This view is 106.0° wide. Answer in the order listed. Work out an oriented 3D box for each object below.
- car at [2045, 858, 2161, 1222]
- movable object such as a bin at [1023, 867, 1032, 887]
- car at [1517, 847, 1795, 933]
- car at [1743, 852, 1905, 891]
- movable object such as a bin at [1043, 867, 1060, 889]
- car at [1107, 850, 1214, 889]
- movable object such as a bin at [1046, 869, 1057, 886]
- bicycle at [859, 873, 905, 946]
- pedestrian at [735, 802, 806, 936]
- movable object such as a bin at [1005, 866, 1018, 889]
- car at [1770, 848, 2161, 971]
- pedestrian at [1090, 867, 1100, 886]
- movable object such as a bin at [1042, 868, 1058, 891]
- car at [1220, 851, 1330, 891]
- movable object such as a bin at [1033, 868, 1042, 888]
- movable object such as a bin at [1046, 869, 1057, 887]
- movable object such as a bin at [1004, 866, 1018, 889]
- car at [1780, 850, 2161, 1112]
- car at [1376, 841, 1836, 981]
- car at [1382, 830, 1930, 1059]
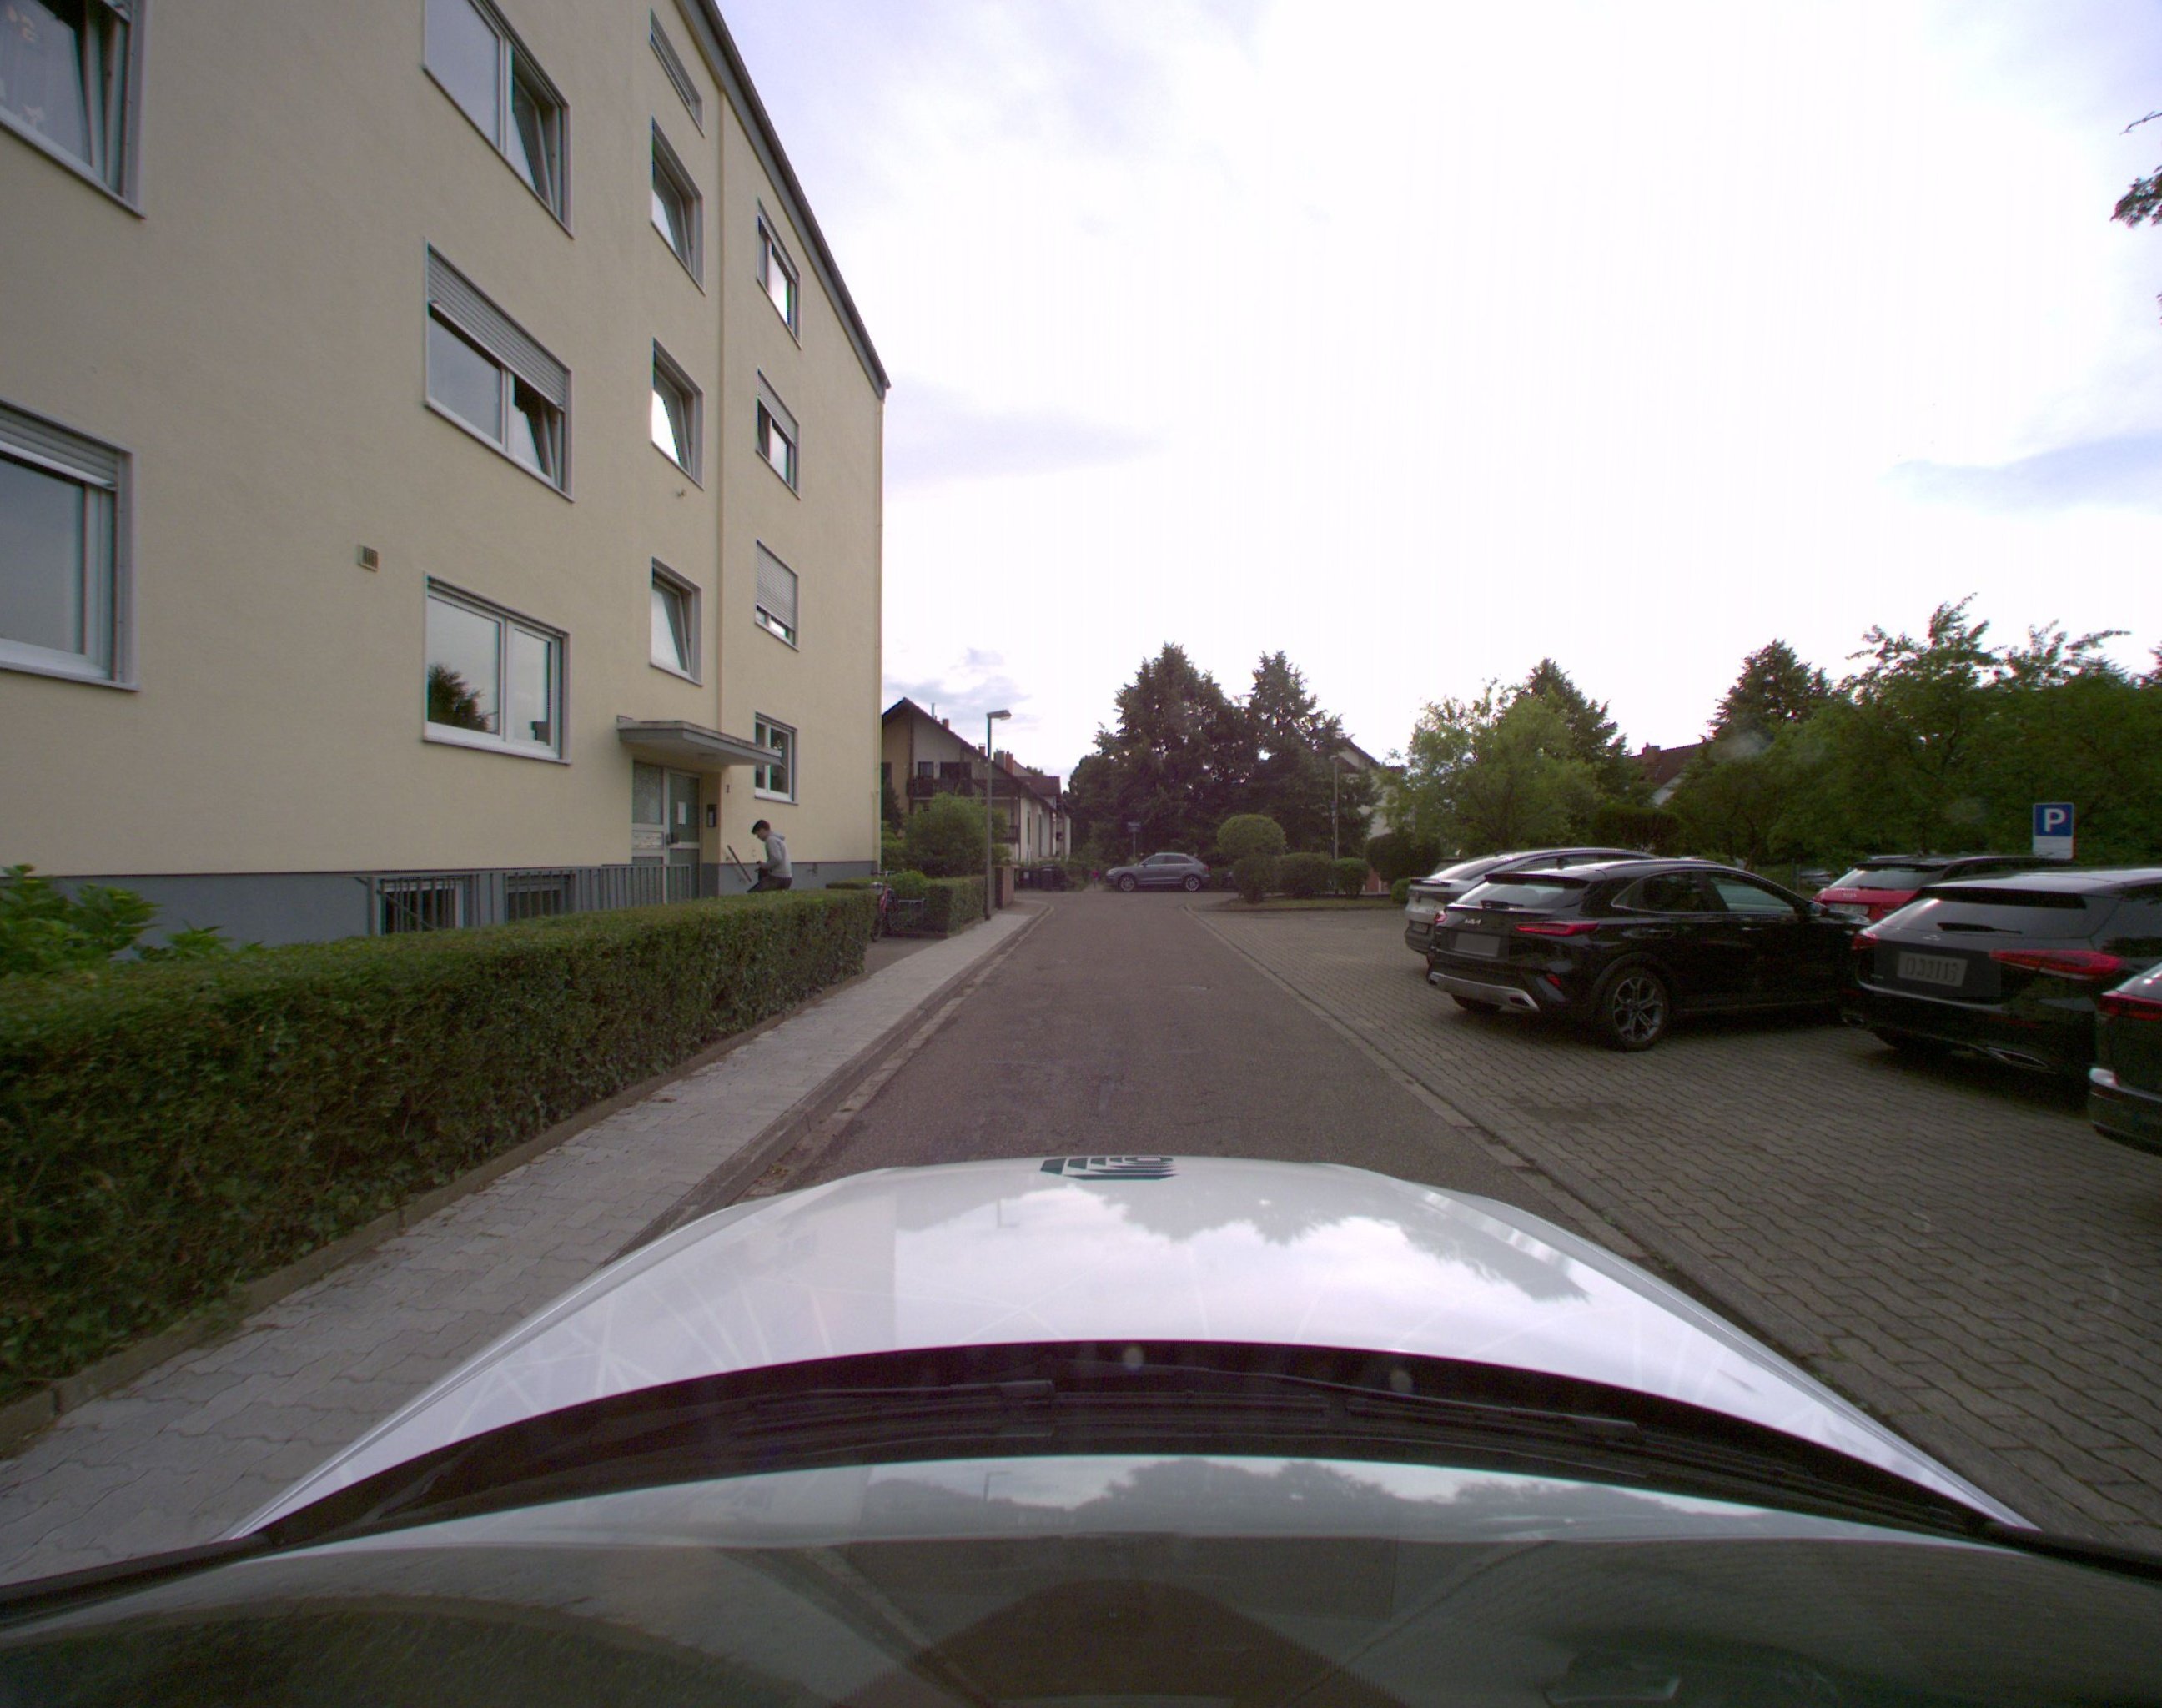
[{"bbox_3d":[6.361,0.724,2.817,4.113,1.449,1.613,-1,0,1],"label":"car"},{"bbox_3d":[-2.447,1.052,37.000,0.384,0.901,0.379,1,0,-1],"label":"movable object such as a bin"},{"bbox_3d":[10.787,0.641,15.522,3.883,1.510,2.028,0,0,1],"label":"car"},{"bbox_3d":[28.727,0.700,31.608,4.440,1.428,1.785,0,-2,6],"label":"car"},{"bbox_3d":[-1.302,1.055,36.275,0.731,0.953,0.584,1,0,1],"label":"movable object such as a bin"},{"bbox_3d":[3.176,0.653,33.177,4.222,1.531,1.747,0,-2,1],"label":"car"},{"bbox_3d":[-1.344,1.080,37.366,0.458,0.797,0.379,1,0,-1],"label":"movable object such as a bin"},{"bbox_3d":[-3.185,0.862,13.111,0.317,1.075,1.419,1,-1,2],"label":"bicycle"},{"bbox_3d":[-4.214,0.201,11.095,0.677,1.749,0.755,1,0,-5],"label":"pedestrian"},{"bbox_3d":[-3.062,1.041,36.043,0.535,0.994,0.337,1,0,-1],"label":"movable object such as a bin"},{"bbox_3d":[11.455,0.629,10.256,3.883,1.380,1.972,0,0,1],"label":"car"},{"bbox_3d":[1.156,1.860,66.959,0.812,1.517,0.438,0,-1,-1],"label":"pedestrian"},{"bbox_3d":[-1.350,1.103,35.393,0.636,0.953,0.723,1,0,1],"label":"movable object such as a bin"},{"bbox_3d":[7.748,0.701,32.861,4.160,1.531,1.750,0,-2,6],"label":"car"},{"bbox_3d":[-1.982,1.101,37.012,0.384,0.890,0.379,1,0,-1],"label":"movable object such as a bin"},{"bbox_3d":[-1.340,1.076,36.850,0.458,0.797,0.379,1,0,-1],"label":"movable object such as a bin"},{"bbox_3d":[-3.067,1.023,35.659,0.535,0.994,0.379,1,0,-1],"label":"movable object such as a bin"},{"bbox_3d":[7.522,0.705,5.443,3.977,1.449,1.917,-1,0,4],"label":"car"},{"bbox_3d":[6.335,0.656,10.306,4.518,1.588,1.990,0,0,3],"label":"car"},{"bbox_3d":[5.110,0.650,7.443,3.994,1.552,1.990,-2,0,-15],"label":"car"}]
